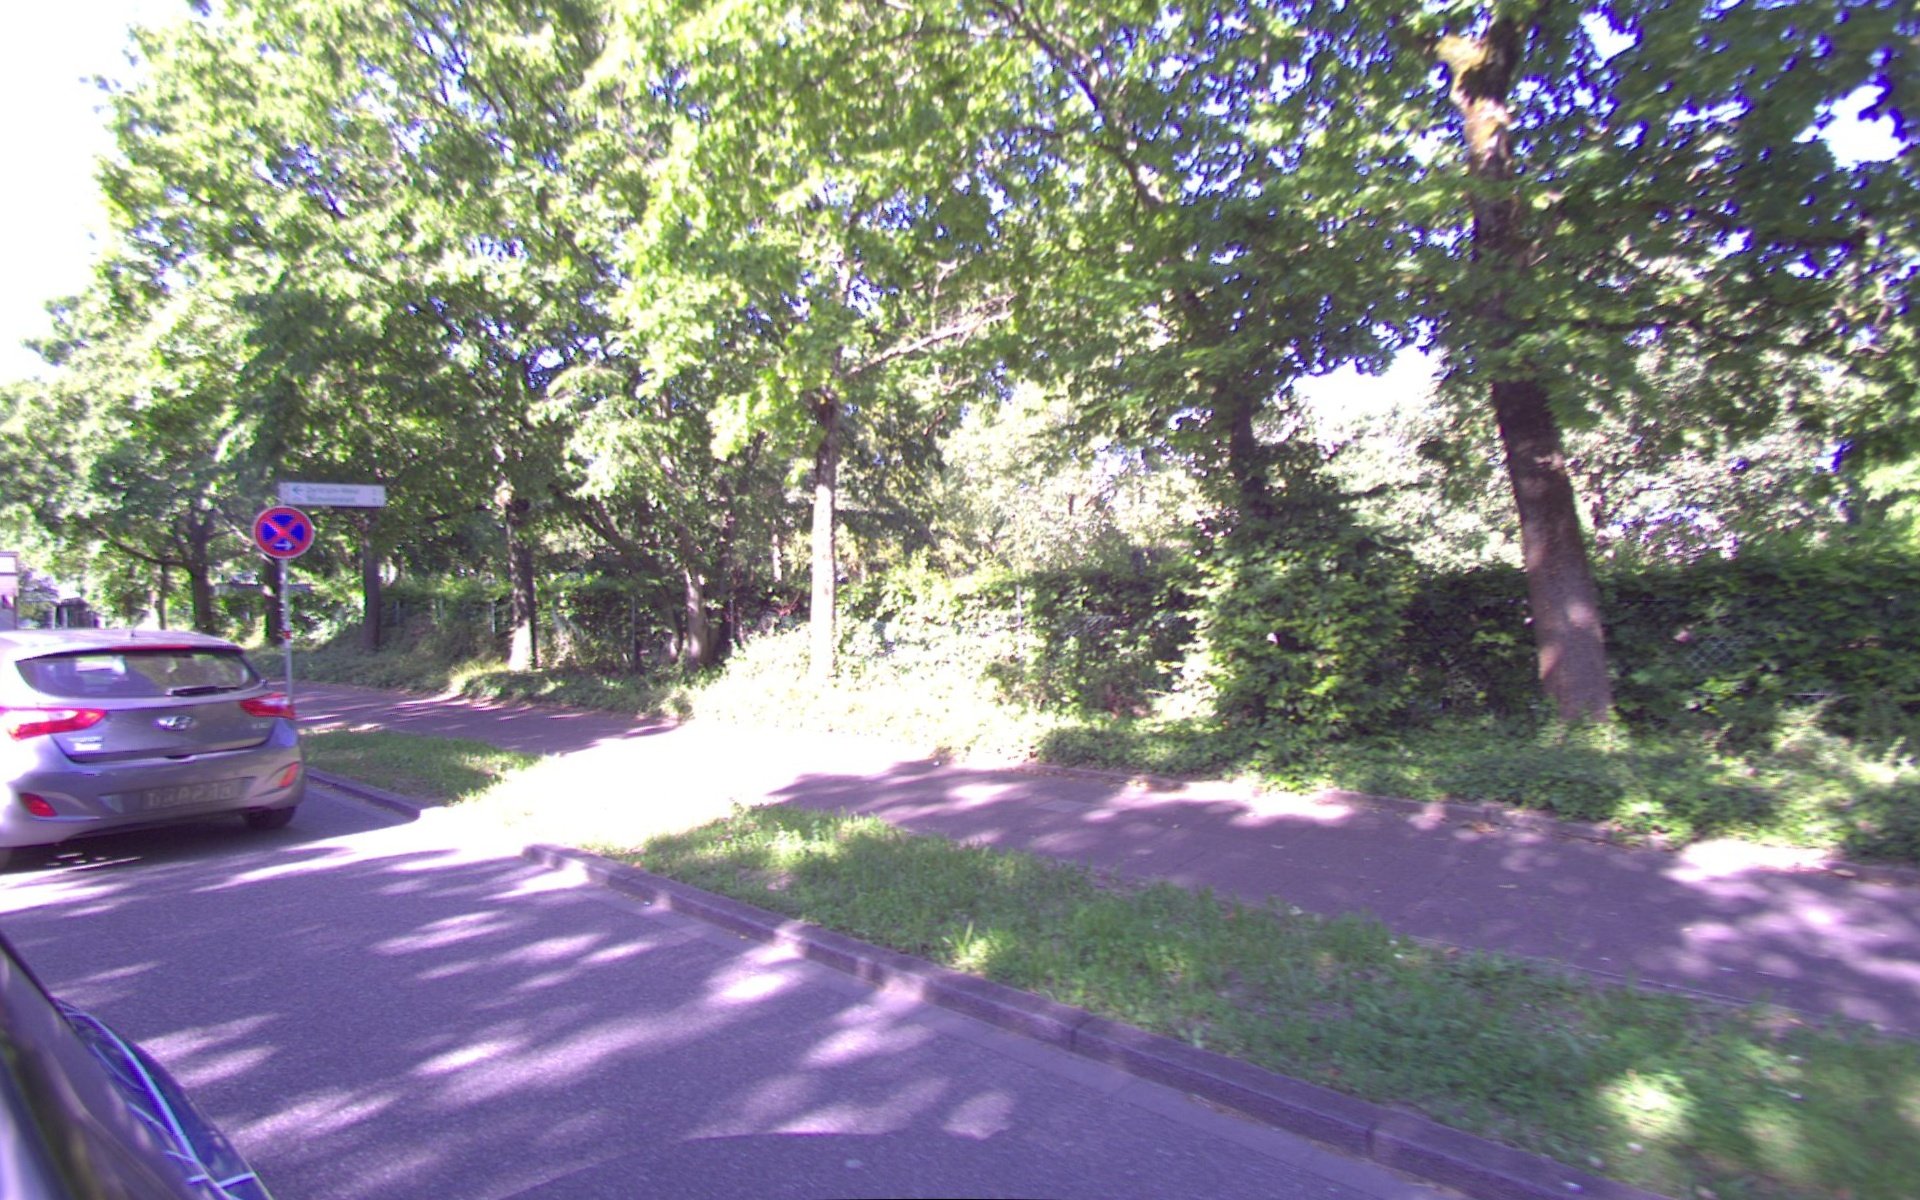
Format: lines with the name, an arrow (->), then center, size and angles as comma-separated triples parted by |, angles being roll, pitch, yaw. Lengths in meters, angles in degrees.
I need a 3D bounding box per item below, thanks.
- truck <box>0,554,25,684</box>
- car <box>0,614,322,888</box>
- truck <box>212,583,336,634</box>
truck -> -30.539, 0.645, 30.492 | 8.098, 3.669, 2.705 | -2, 0, 42
car -> -6.547, 0.872, 7.196 | 4.228, 1.465, 1.742 | -2, -2, 32
truck -> -29.162, 0.396, 43.081 | 2.202, 2.029, 3.946 | -2, -2, 40
